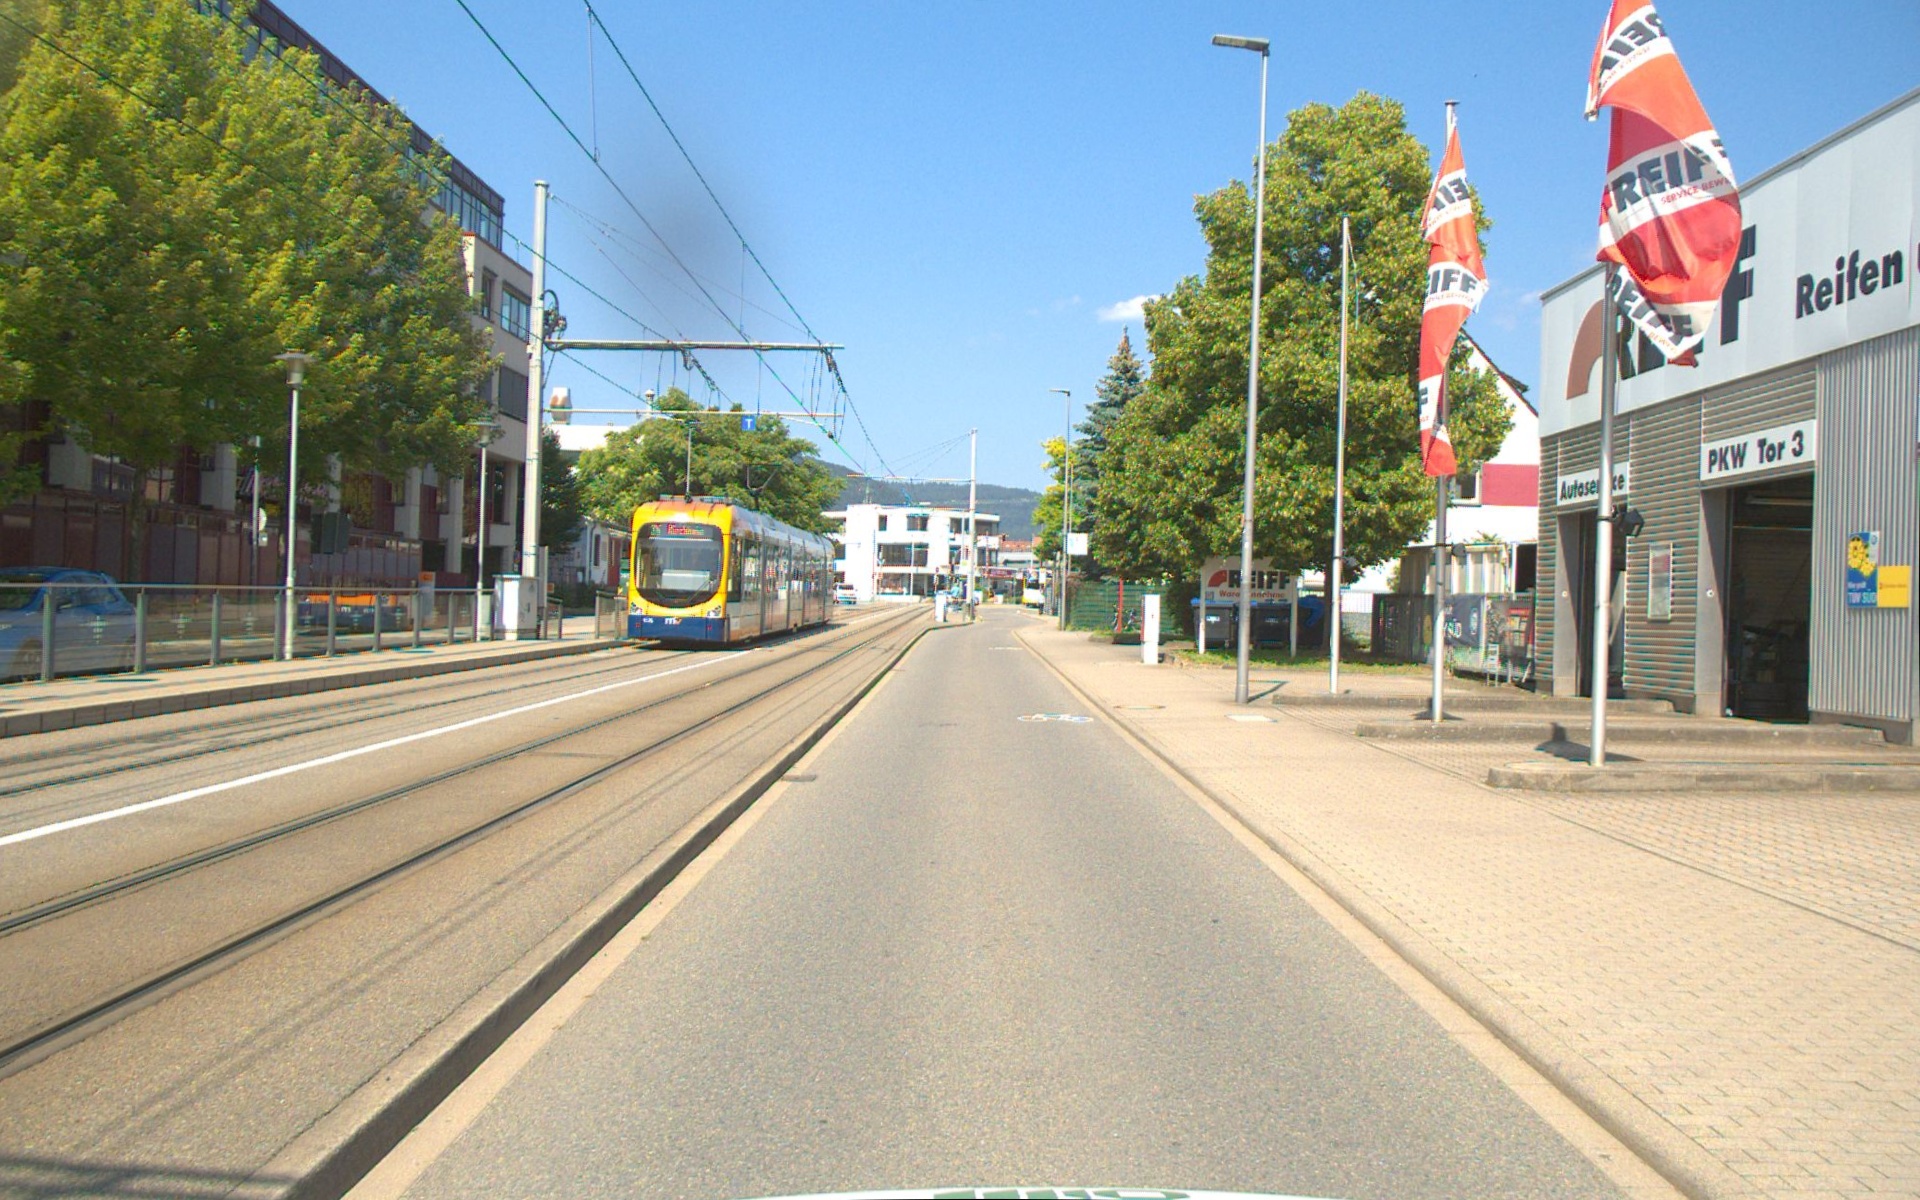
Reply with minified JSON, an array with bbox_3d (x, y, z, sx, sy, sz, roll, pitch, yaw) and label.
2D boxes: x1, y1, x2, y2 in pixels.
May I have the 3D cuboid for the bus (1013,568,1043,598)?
[{"bbox_3d":[7.033,-1.724,172.099,2.387,2.930,8.789,2,0,-2],"label":"bus"}]

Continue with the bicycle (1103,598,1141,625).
[{"bbox_3d":[6.317,0.462,64.490,1.441,1.008,0.388,1,-3,-1],"label":"bicycle"}]

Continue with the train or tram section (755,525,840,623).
[{"bbox_3d":[-6.090,-0.960,62.827,2.527,3.507,6.362,1,0,0],"label":"train or tram section"}]

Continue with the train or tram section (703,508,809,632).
[{"bbox_3d":[-6.077,-0.861,49.935,2.557,3.507,5.010,1,0,0],"label":"train or tram section"}]

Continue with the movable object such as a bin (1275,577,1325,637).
[{"bbox_3d":[9.155,0.201,44.569,0.958,1.574,1.320,2,-2,-3],"label":"movable object such as a bin"}]

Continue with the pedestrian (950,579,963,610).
[{"bbox_3d":[-0.191,-0.329,98.132,0.728,1.771,0.727,1,0,0],"label":"pedestrian"}]

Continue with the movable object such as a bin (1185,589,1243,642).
[{"bbox_3d":[7.208,0.445,46.886,1.357,1.455,0.990,1,-2,25],"label":"movable object such as a bin"}]

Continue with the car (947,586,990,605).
[{"bbox_3d":[0.858,-0.433,160.899,3.902,1.780,1.777,2,0,9],"label":"car"}]

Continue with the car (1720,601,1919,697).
[{"bbox_3d":[14.330,0.772,26.311,3.688,1.400,1.724,1,0,-5],"label":"car"}]

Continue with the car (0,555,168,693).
[{"bbox_3d":[-12.010,0.282,21.292,1.687,1.612,4.071,-1,0,-1],"label":"car"}]

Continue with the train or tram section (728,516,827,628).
[{"bbox_3d":[-6.088,-0.896,56.035,2.527,3.507,7.136,1,0,0],"label":"train or tram section"}]

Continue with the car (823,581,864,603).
[{"bbox_3d":[-11.092,-0.765,157.668,1.827,1.970,3.989,4,2,32],"label":"car"}]

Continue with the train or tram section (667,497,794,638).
[{"bbox_3d":[-6.047,-0.834,44.476,2.557,3.507,5.843,1,0,0],"label":"train or tram section"}]

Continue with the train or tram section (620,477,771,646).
[{"bbox_3d":[-6.049,-0.850,38.691,2.557,3.594,5.742,1,0,0],"label":"train or tram section"}]

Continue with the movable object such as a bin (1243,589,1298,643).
[{"bbox_3d":[8.685,0.442,46.282,1.290,1.455,0.884,1,-2,25],"label":"movable object such as a bin"}]
